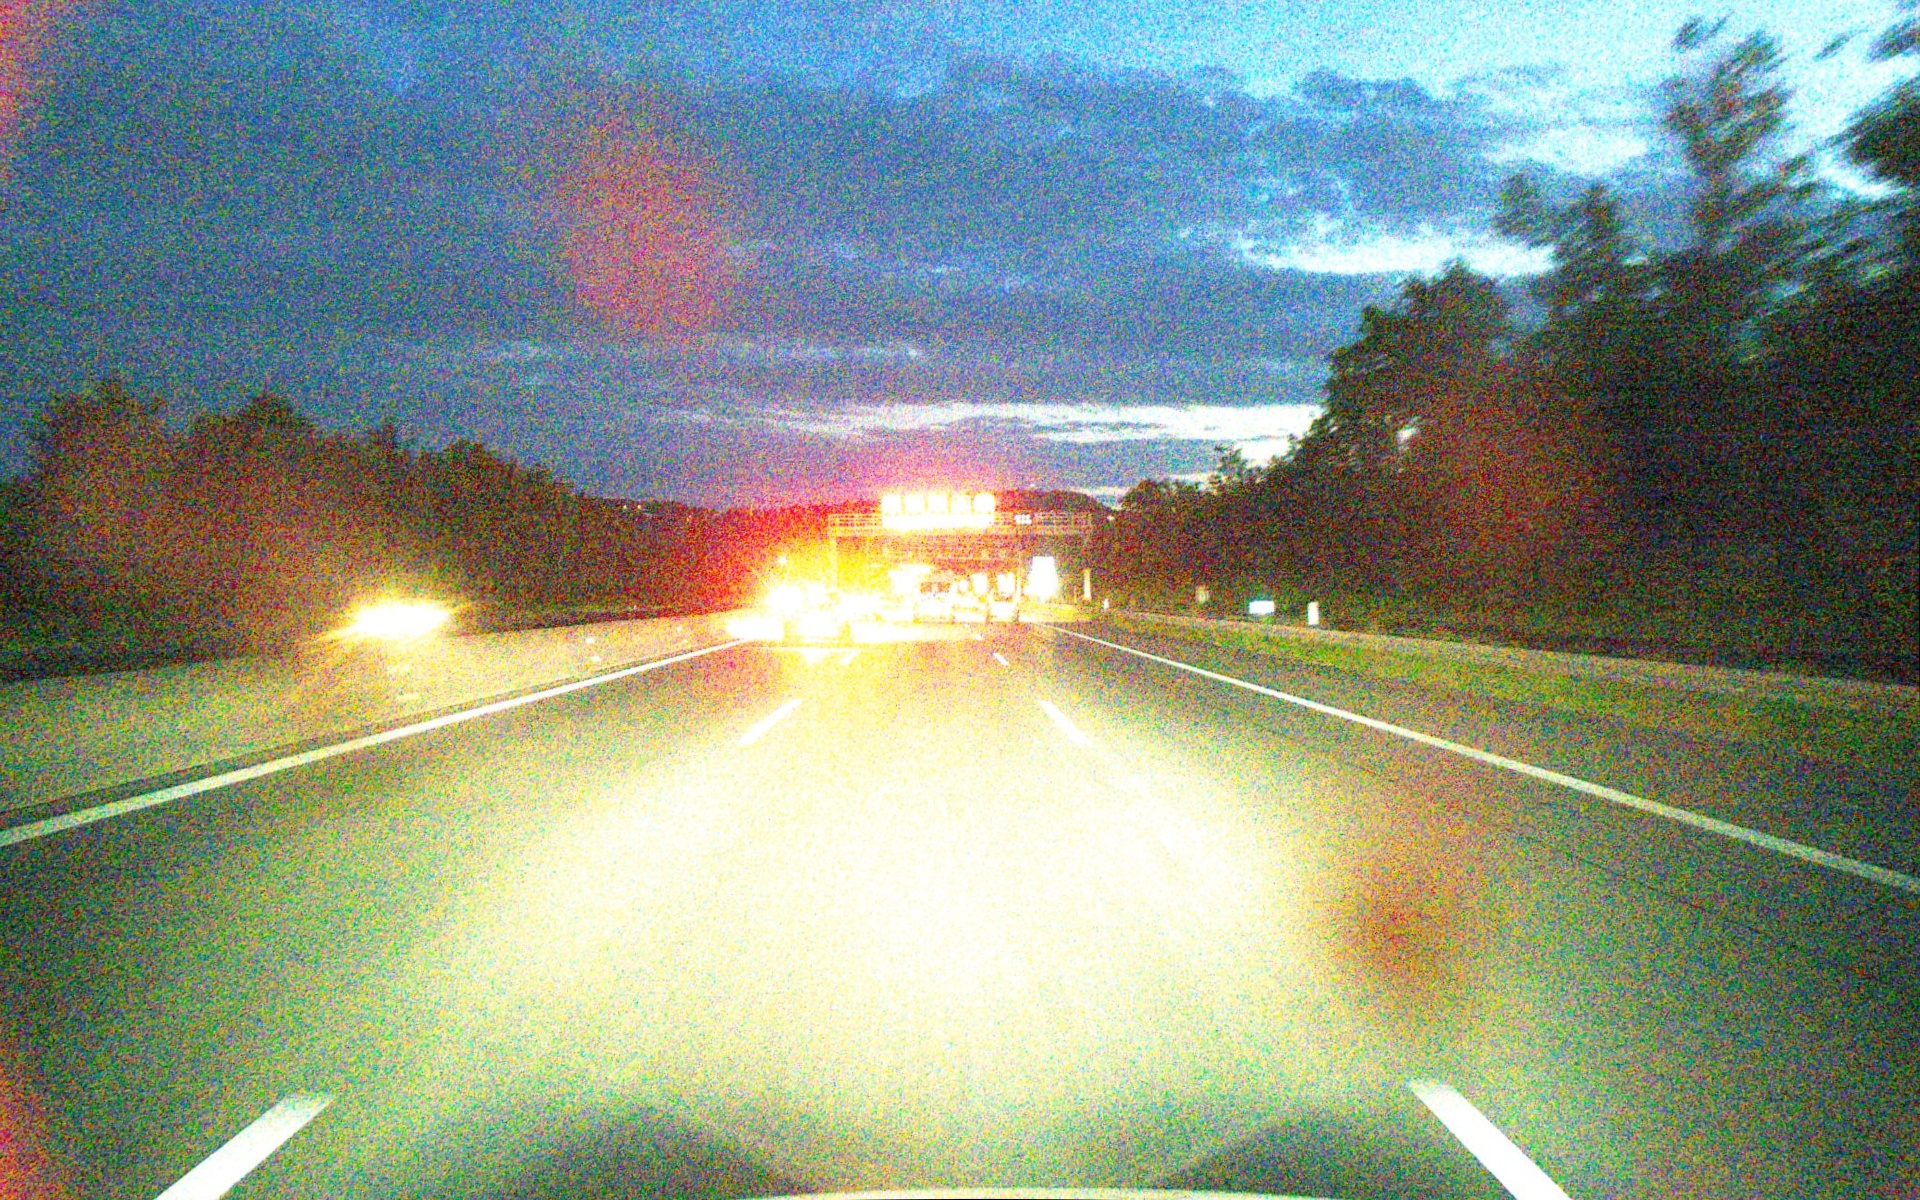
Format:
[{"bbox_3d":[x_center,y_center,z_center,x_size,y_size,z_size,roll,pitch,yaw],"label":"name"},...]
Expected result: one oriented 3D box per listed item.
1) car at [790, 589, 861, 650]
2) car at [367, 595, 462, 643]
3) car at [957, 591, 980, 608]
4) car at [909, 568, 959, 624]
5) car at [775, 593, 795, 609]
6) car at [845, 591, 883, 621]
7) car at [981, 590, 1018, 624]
[{"bbox_3d":[-3.525,0.480,43.369,1.758,1.494,3.769,1,0,-5],"label":"car"},{"bbox_3d":[-20.363,0.715,61.955,1.864,1.663,5.045,2,-1,-1],"label":"car"},{"bbox_3d":[0.782,-0.061,155.548,2.119,1.591,4.722,0,0,-1],"label":"car"},{"bbox_3d":[-1.248,-0.223,79.342,2.303,2.579,5.700,0,0,-1],"label":"car"},{"bbox_3d":[-18.936,0.130,178.762,1.865,1.646,4.402,-1,0,-3],"label":"car"},{"bbox_3d":[-4.770,0.286,82.964,1.709,1.465,4.367,0,0,-1],"label":"car"},{"bbox_3d":[1.999,0.352,83.911,1.613,1.624,4.508,1,0,-2],"label":"car"}]
